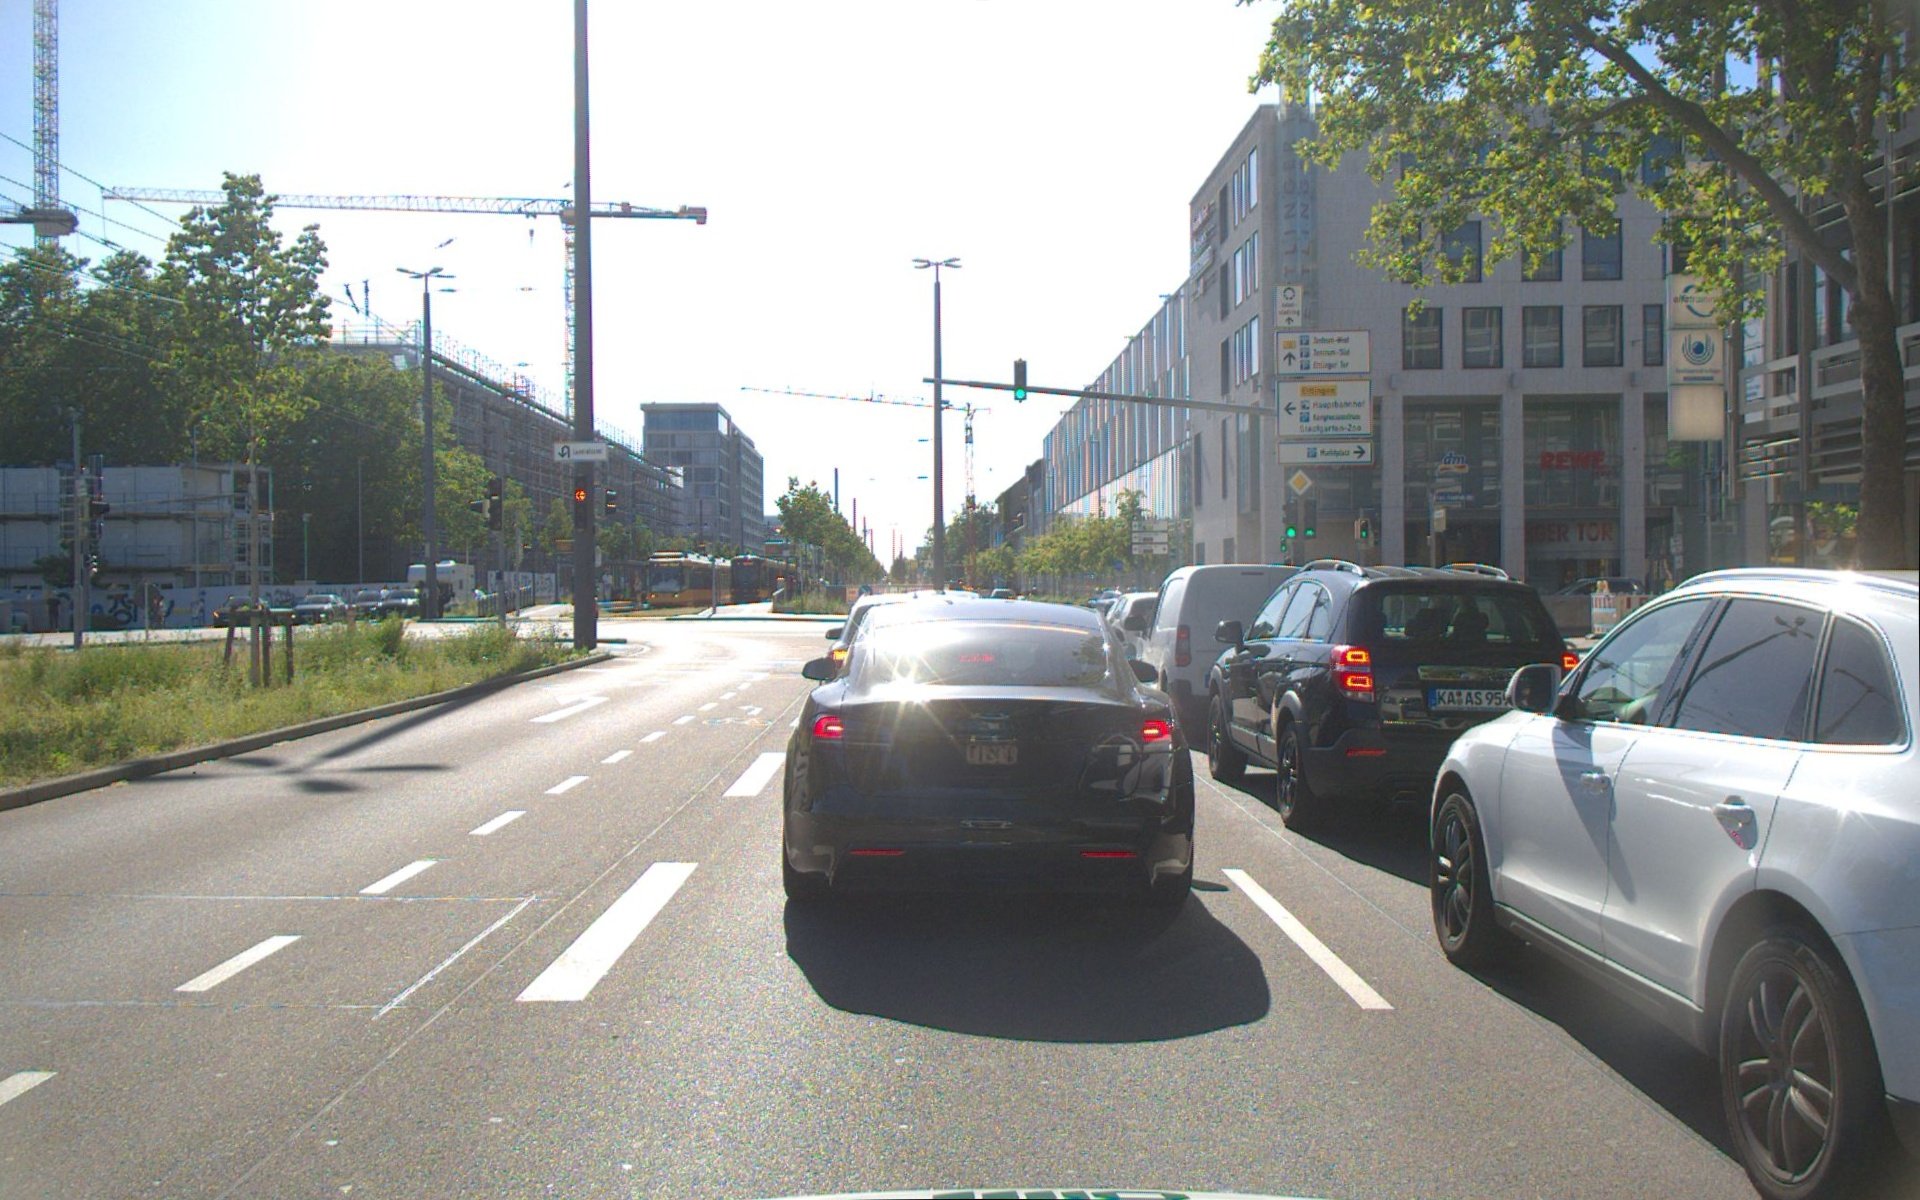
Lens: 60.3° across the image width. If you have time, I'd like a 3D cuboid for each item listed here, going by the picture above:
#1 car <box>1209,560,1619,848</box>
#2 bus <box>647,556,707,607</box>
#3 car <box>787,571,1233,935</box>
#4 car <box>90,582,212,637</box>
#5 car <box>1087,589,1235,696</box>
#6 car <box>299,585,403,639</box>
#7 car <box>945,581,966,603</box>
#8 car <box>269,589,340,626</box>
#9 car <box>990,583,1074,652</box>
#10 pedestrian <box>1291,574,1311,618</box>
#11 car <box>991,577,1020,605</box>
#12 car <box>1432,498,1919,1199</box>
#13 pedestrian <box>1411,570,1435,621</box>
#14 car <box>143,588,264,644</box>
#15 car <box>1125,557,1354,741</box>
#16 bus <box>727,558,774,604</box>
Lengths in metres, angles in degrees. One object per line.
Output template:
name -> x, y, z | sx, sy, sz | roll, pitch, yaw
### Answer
car -> 2.991, 0.579, 11.814 | 1.687, 1.682, 4.185 | 0, 1, -2
bus -> -16.904, -1.030, 99.251 | 2.576, 2.831, 8.837 | 2, 0, -4
car -> 0.149, 0.613, 8.940 | 1.873, 1.512, 4.008 | 0, 1, -2
car -> -19.164, 0.228, 39.301 | 1.348, 1.199, 3.219 | 2, 0, -2
car -> 2.950, 0.579, 25.061 | 1.686, 1.456, 4.186 | 0, 1, -1
car -> -14.439, 0.282, 39.355 | 1.348, 1.199, 3.219 | 2, 0, -2
car -> -0.436, -0.808, 161.473 | 1.953, 2.049, 3.999 | 2, 0, -1
car -> -30.485, 0.366, 77.028 | 1.800, 1.641, 3.894 | 2, 0, -2
car -> 1.579, 0.353, 37.613 | 1.686, 1.456, 4.186 | 0, 1, -1
pedestrian -> 11.466, -0.139, 55.573 | 0.550, 1.466, 0.632 | 1, -1, 6
car -> 3.452, -0.673, 125.671 | 1.953, 2.049, 3.999 | 2, 0, -1
car -> 2.921, 0.578, 5.246 | 1.686, 1.646, 4.186 | 0, 1, 0
pedestrian -> 13.616, -0.125, 48.601 | 0.550, 1.466, 0.632 | 1, -1, 6
car -> -17.496, 0.359, 38.383 | 1.348, 1.199, 3.219 | 2, 0, -2
car -> 2.984, 0.457, 18.499 | 1.687, 1.813, 4.184 | 0, 1, -3
bus -> -14.603, -1.248, 116.108 | 2.576, 3.011, 9.891 | 2, 0, -4
